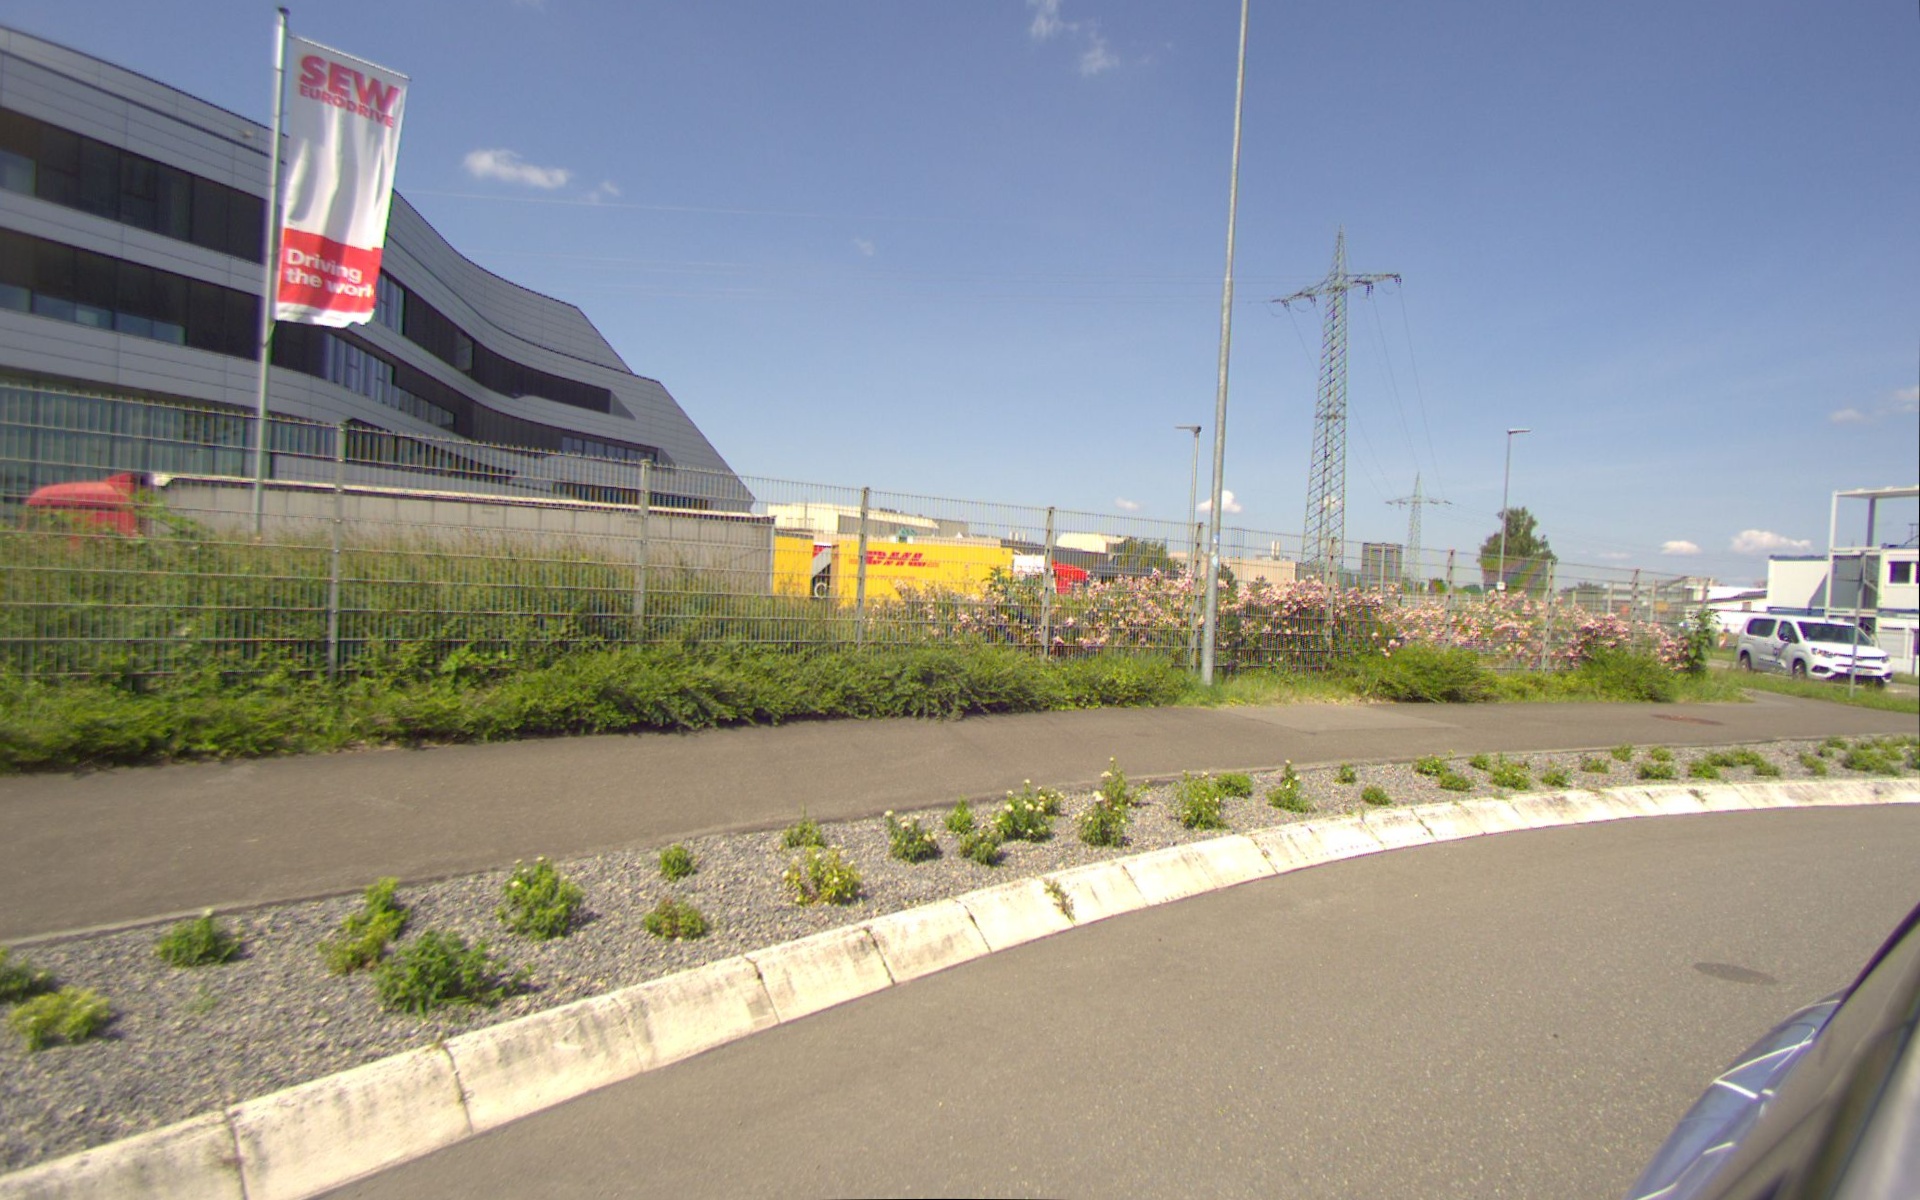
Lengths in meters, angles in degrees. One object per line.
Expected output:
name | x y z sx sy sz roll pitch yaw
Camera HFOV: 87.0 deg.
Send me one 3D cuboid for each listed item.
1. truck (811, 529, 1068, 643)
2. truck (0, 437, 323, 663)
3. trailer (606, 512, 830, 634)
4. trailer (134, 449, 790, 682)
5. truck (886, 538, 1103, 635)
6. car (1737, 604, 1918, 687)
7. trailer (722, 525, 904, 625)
truck | -0.912 -0.598 44.768 10.743 4.223 2.830 4 2 -15
truck | -18.049 -1.076 23.102 5.179 4.476 2.774 4 2 -16
trailer | -10.052 -1.097 42.060 8.531 4.348 2.909 3 2 -19
trailer | -11.416 -0.661 24.949 13.766 4.491 2.774 4 2 -16
truck | 1.808 -0.710 53.459 10.742 4.308 3.037 4 2 -15
car | 22.901 1.113 26.996 1.813 1.829 4.803 3 1 17
trailer | -7.456 -1.269 50.985 8.532 4.348 3.037 4 2 -15
